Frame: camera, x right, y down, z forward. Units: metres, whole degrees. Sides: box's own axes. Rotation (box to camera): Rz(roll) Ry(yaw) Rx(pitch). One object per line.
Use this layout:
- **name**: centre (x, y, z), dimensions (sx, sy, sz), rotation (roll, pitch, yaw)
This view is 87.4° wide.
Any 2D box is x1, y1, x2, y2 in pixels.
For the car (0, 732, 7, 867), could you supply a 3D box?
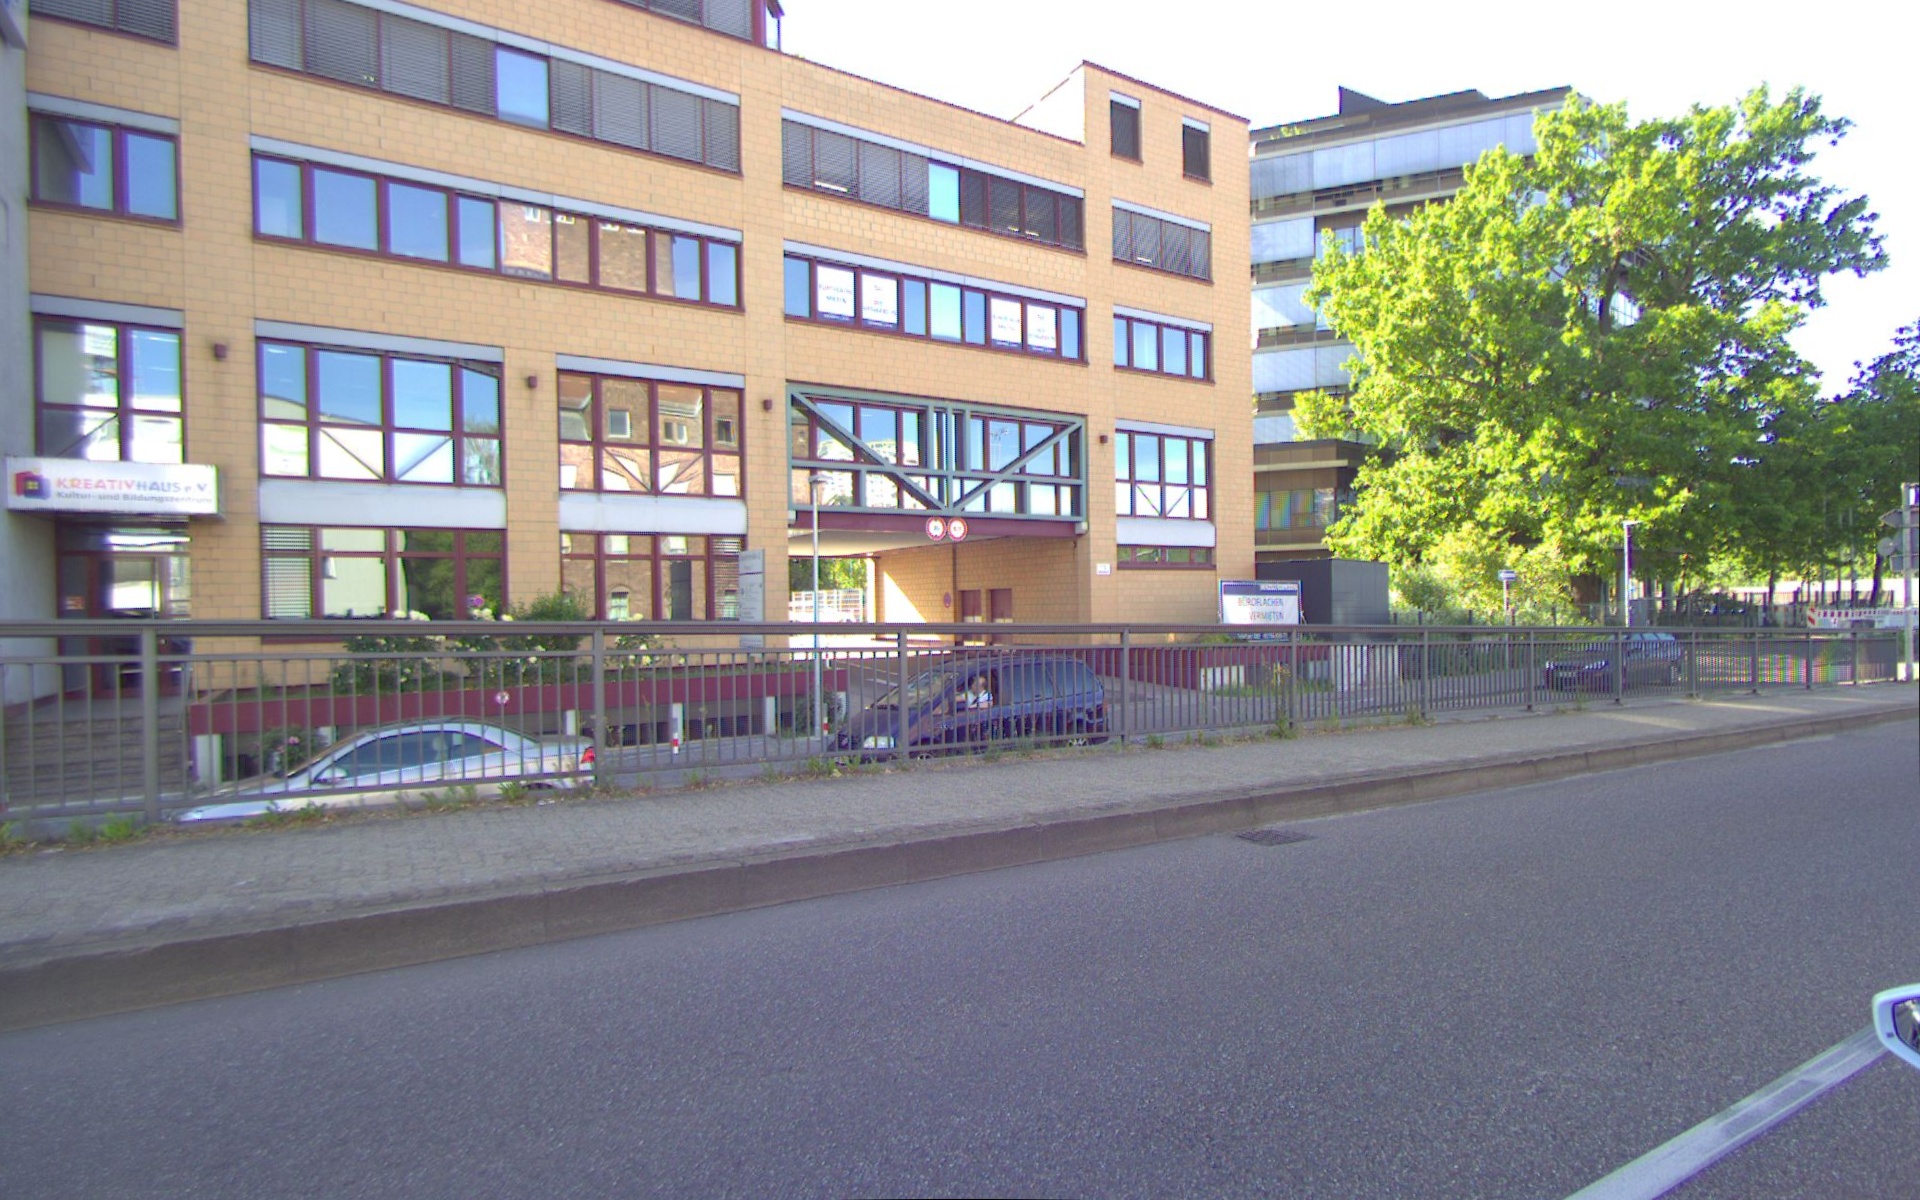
- **car**: centre (-10.637, 1.925, 8.283), dimensions (3.766, 1.286, 1.567), rotation (0, -2, -32)

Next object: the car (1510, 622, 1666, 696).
- **car**: centre (16.433, 1.467, 26.271), dimensions (3.953, 1.715, 1.843), rotation (-1, 0, -30)

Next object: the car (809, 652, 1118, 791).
- **car**: centre (0.149, 1.697, 15.191), dimensions (4.541, 1.669, 1.710), rotation (0, -2, -36)

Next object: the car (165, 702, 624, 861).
- **car**: centre (-6.136, 1.899, 11.305), dimensions (4.210, 1.181, 1.713), rotation (0, -2, -32)
